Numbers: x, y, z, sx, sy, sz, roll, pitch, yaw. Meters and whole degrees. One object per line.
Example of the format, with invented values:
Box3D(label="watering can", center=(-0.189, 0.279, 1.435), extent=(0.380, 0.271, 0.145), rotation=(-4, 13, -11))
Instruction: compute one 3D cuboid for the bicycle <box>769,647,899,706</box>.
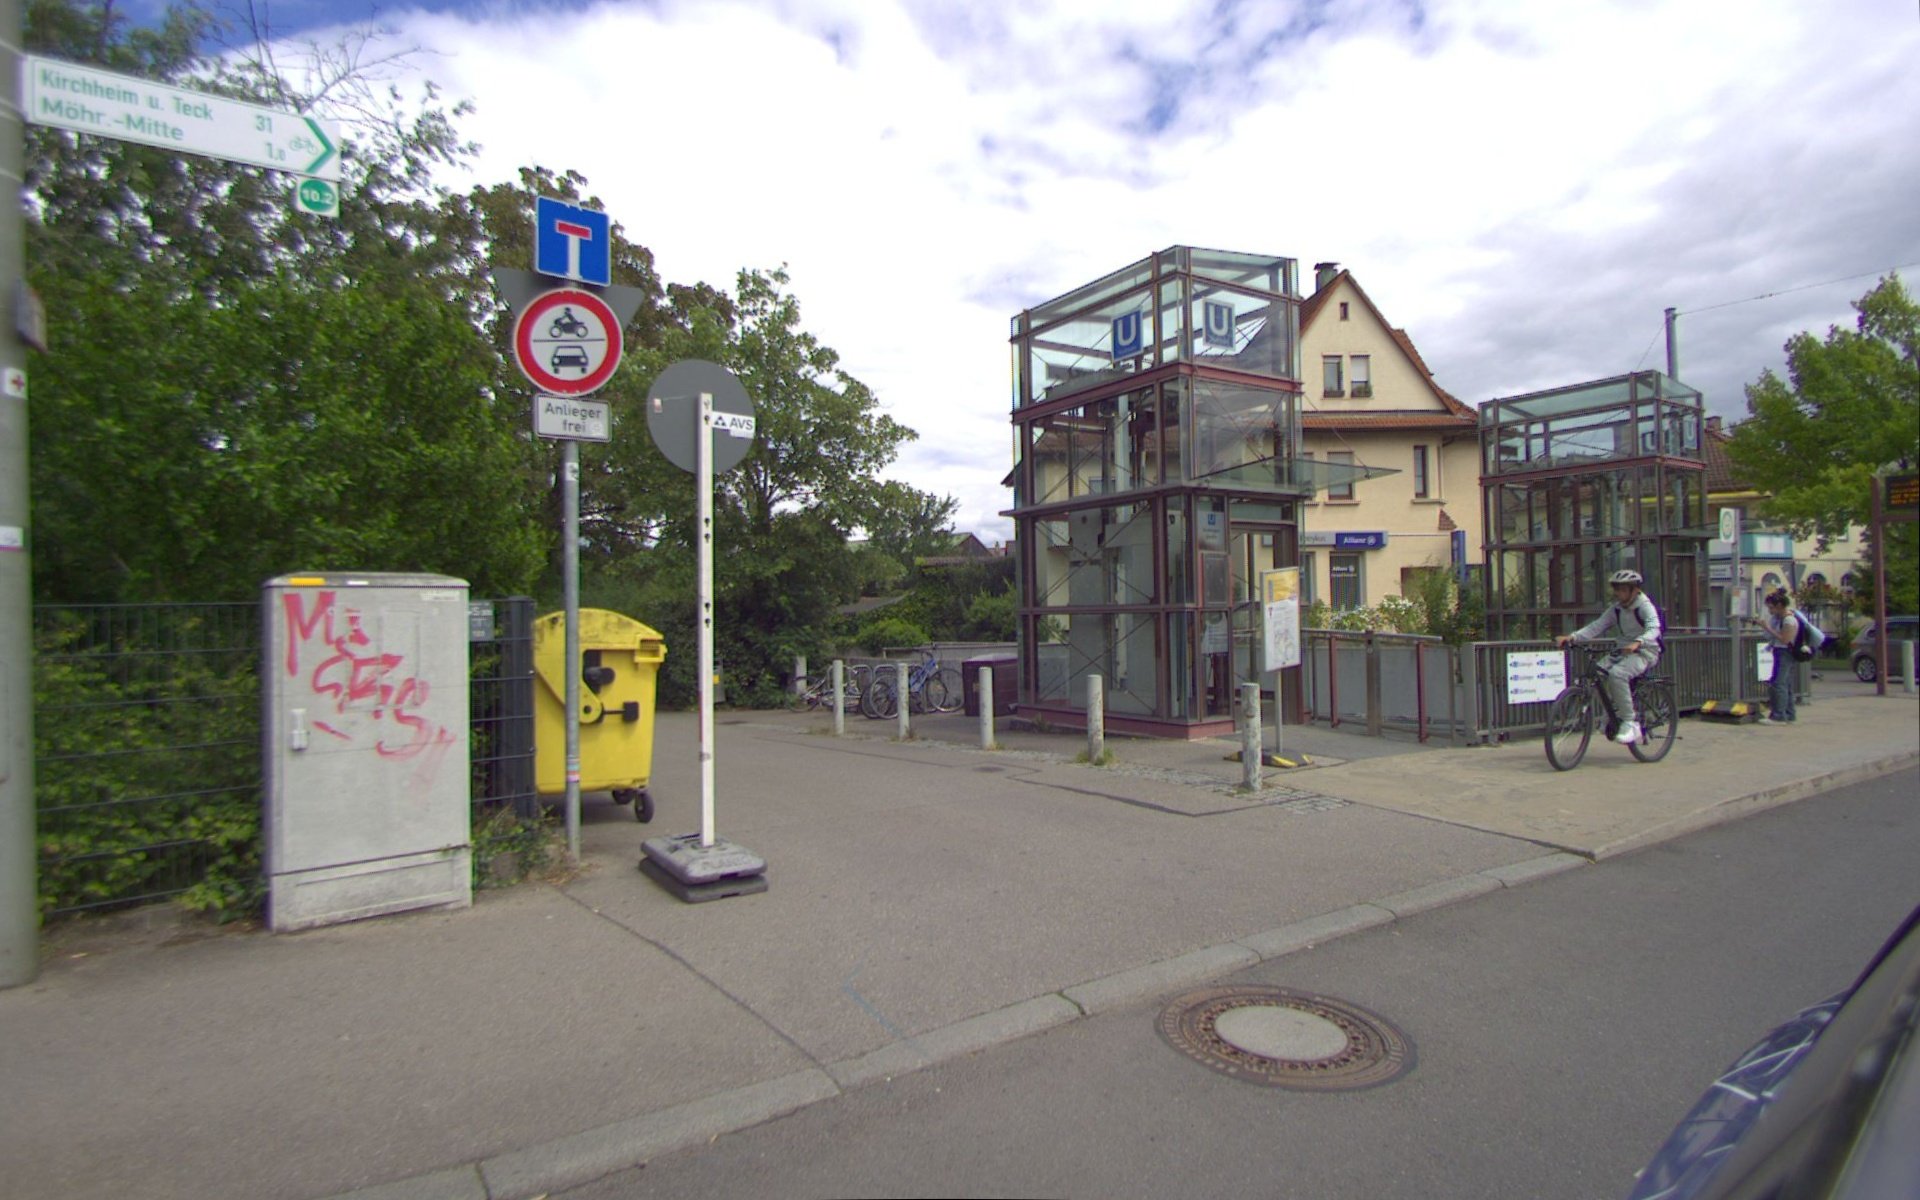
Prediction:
Box3D(label="bicycle", center=(-2.350, 1.409, 19.118), extent=(2.422, 0.993, 0.569), rotation=(0, -2, -33))

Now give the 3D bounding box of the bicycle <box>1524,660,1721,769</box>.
Box3D(label="bicycle", center=(5.588, 0.916, 8.495), extent=(2.022, 0.763, 0.638), rotation=(1, -2, -34))

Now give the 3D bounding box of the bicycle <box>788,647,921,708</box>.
Box3D(label="bicycle", center=(-1.902, 1.388, 18.488), extent=(2.422, 0.993, 0.569), rotation=(0, -2, -33))

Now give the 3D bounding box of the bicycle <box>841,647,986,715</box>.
Box3D(label="bicycle", center=(-0.730, 1.303, 16.668), extent=(2.422, 0.993, 0.569), rotation=(0, -2, -33))

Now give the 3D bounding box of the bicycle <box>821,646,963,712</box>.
Box3D(label="bicycle", center=(-1.130, 1.322, 17.231), extent=(2.422, 0.993, 0.569), rotation=(0, -2, -33))

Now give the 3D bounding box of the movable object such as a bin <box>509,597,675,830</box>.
Box3D(label="movable object such as a bin", center=(-2.675, 0.737, 7.283), extent=(0.984, 1.489, 1.274), rotation=(0, -2, -27))

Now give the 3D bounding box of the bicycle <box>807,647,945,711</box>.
Box3D(label="bicycle", center=(-1.451, 1.367, 17.822), extent=(2.422, 0.993, 0.569), rotation=(0, -2, -33))

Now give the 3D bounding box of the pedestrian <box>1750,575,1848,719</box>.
Box3D(label="pedestrian", center=(9.675, 0.552, 11.683), extent=(0.394, 1.604, 0.599), rotation=(-2, -6, -33))

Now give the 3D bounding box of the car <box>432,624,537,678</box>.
Box3D(label="car", center=(-13.532, 1.401, 28.690), extent=(1.962, 1.394, 3.998), rotation=(0, -2, -36))

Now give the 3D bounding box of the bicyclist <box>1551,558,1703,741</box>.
Box3D(label="bicyclist", center=(5.624, 0.401, 8.530), extent=(1.156, 1.434, 0.658), rotation=(1, -2, -34))

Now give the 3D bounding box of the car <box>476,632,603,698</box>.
Box3D(label="car", center=(-10.256, 1.504, 24.536), extent=(1.962, 1.394, 3.998), rotation=(0, -2, -36))

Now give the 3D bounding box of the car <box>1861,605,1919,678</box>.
Box3D(label="car", center=(22.806, 0.931, 22.684), extent=(1.837, 1.646, 3.992), rotation=(0, -2, 6))
